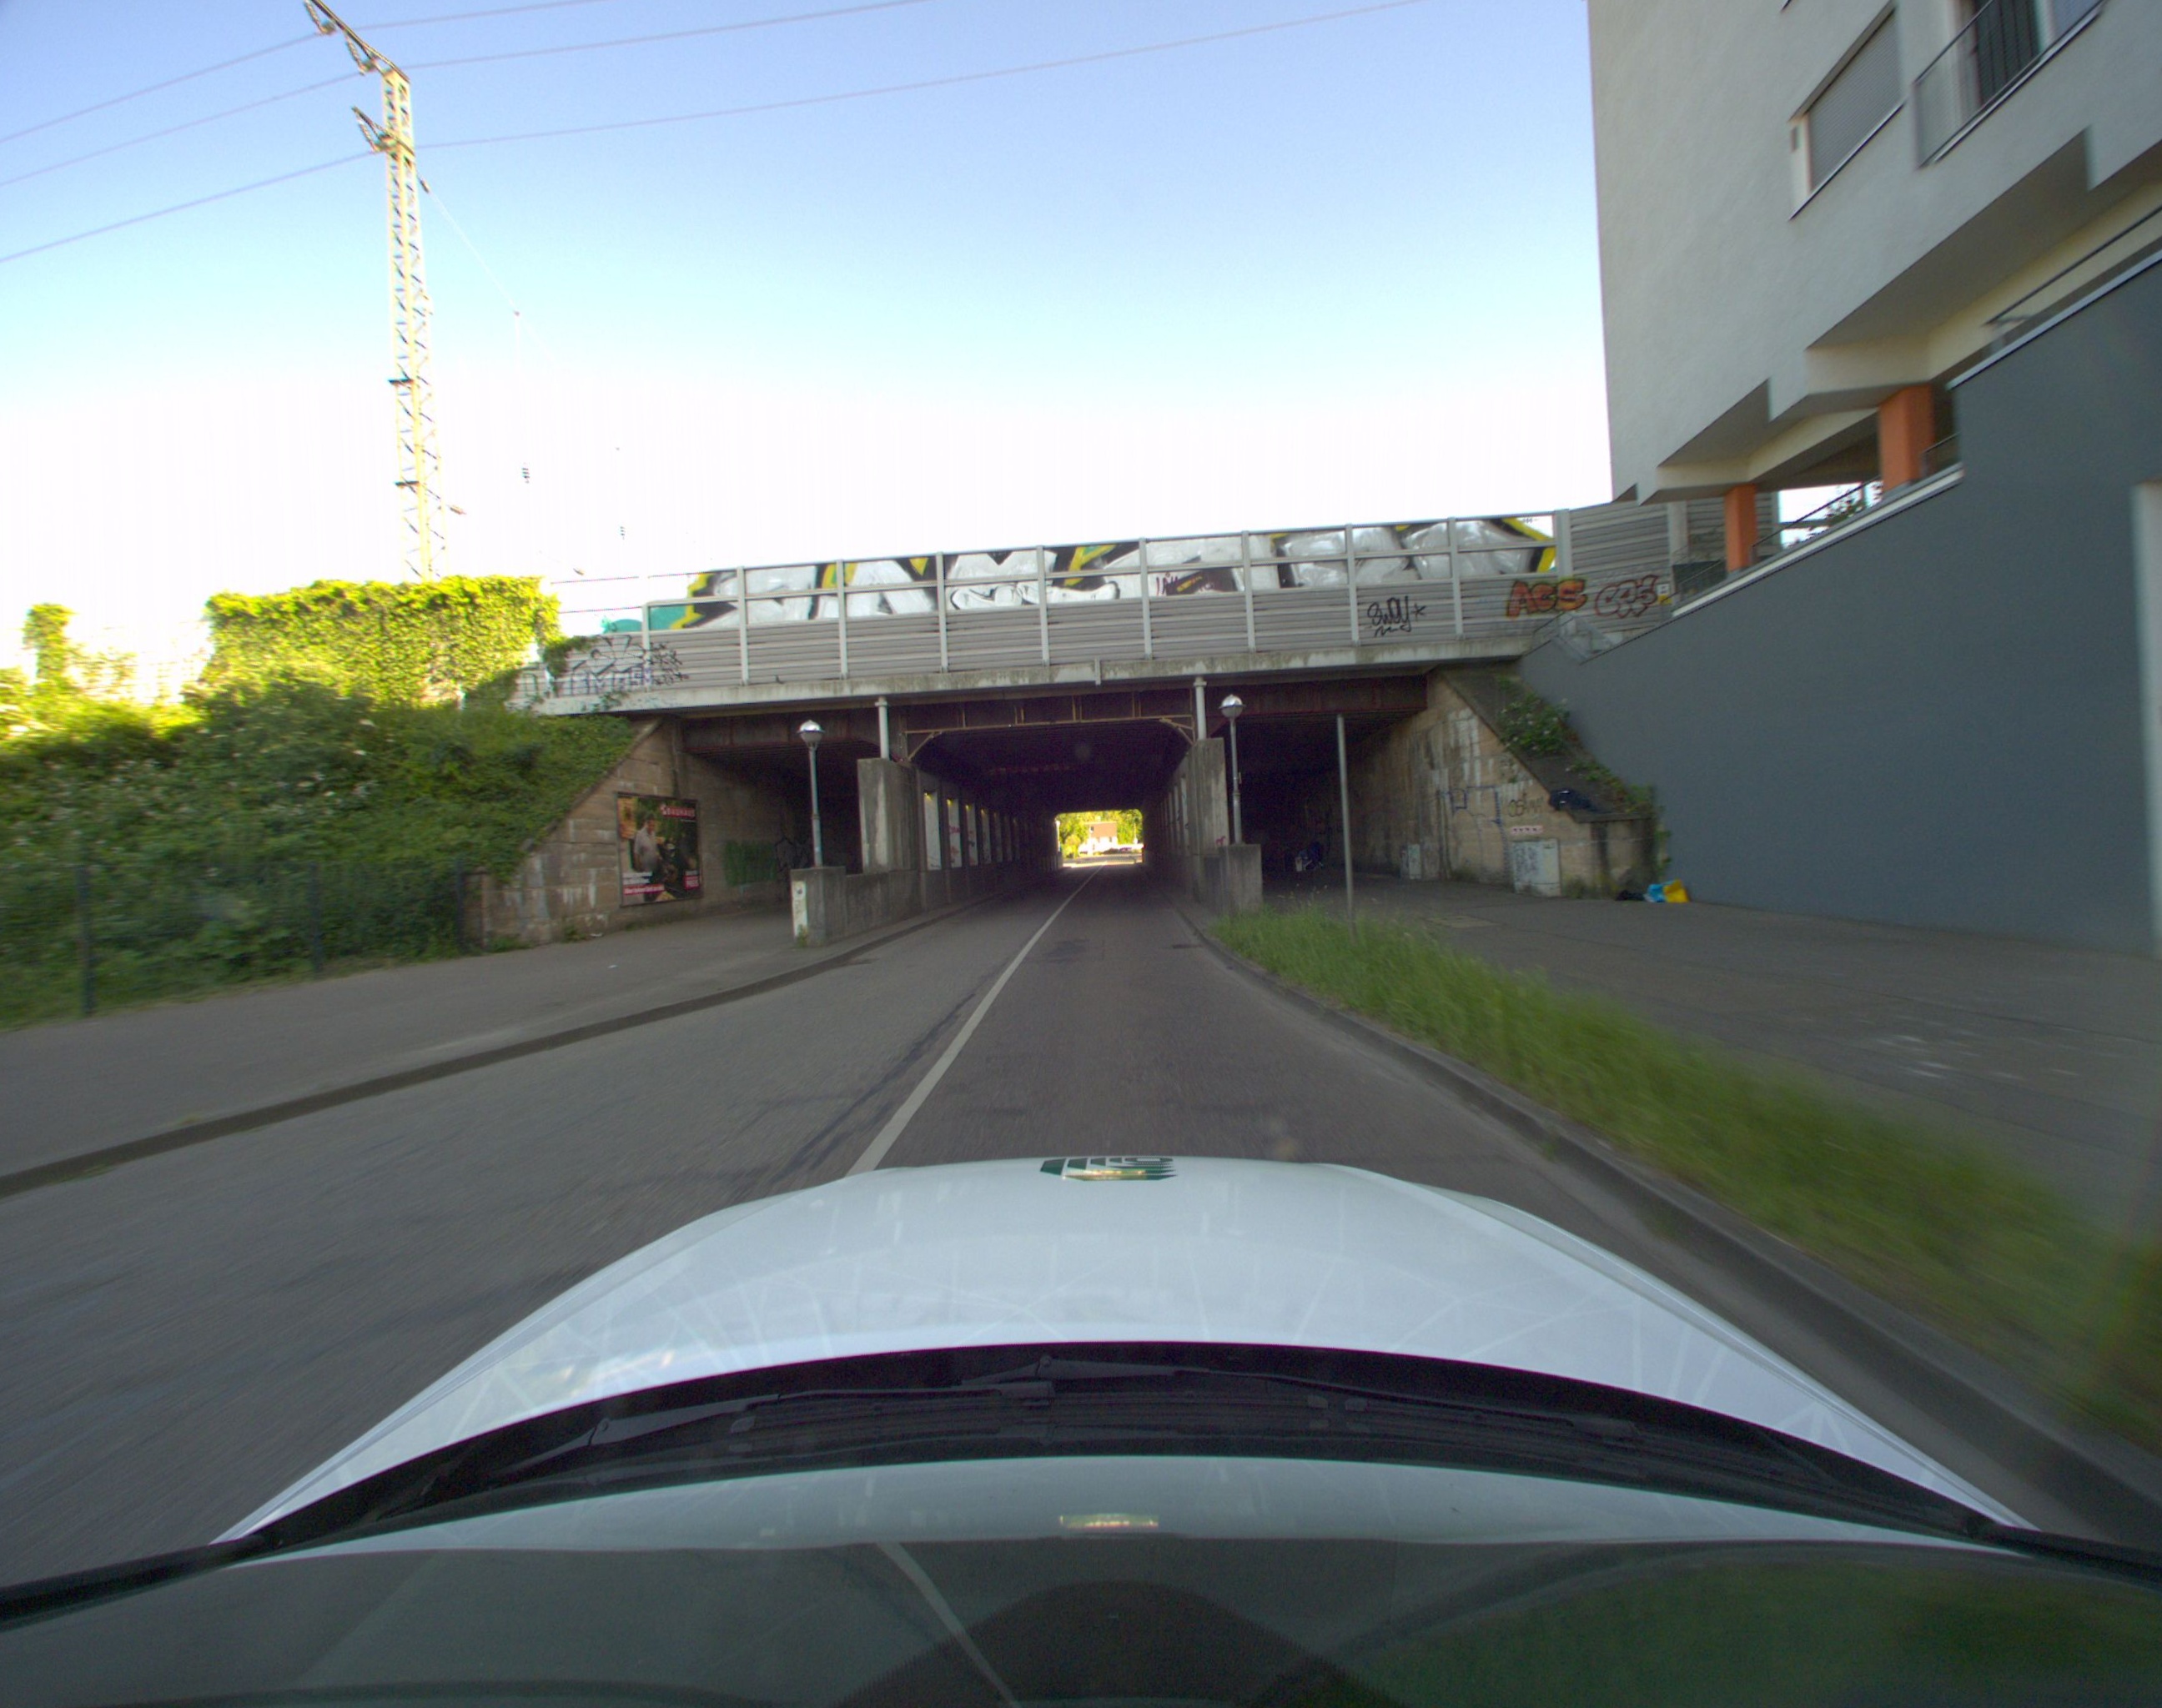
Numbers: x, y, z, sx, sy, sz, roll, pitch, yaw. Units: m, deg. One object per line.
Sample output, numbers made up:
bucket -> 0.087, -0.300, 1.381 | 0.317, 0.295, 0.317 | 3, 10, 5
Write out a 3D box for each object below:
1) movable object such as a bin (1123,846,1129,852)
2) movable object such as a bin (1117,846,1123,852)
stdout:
movable object such as a bin -> 10.638, -1.217, 192.478 | 1.362, 1.418, 1.064 | -1, -1, -5
movable object such as a bin -> 9.218, -1.186, 192.319 | 1.362, 1.418, 1.064 | -1, -1, -5
